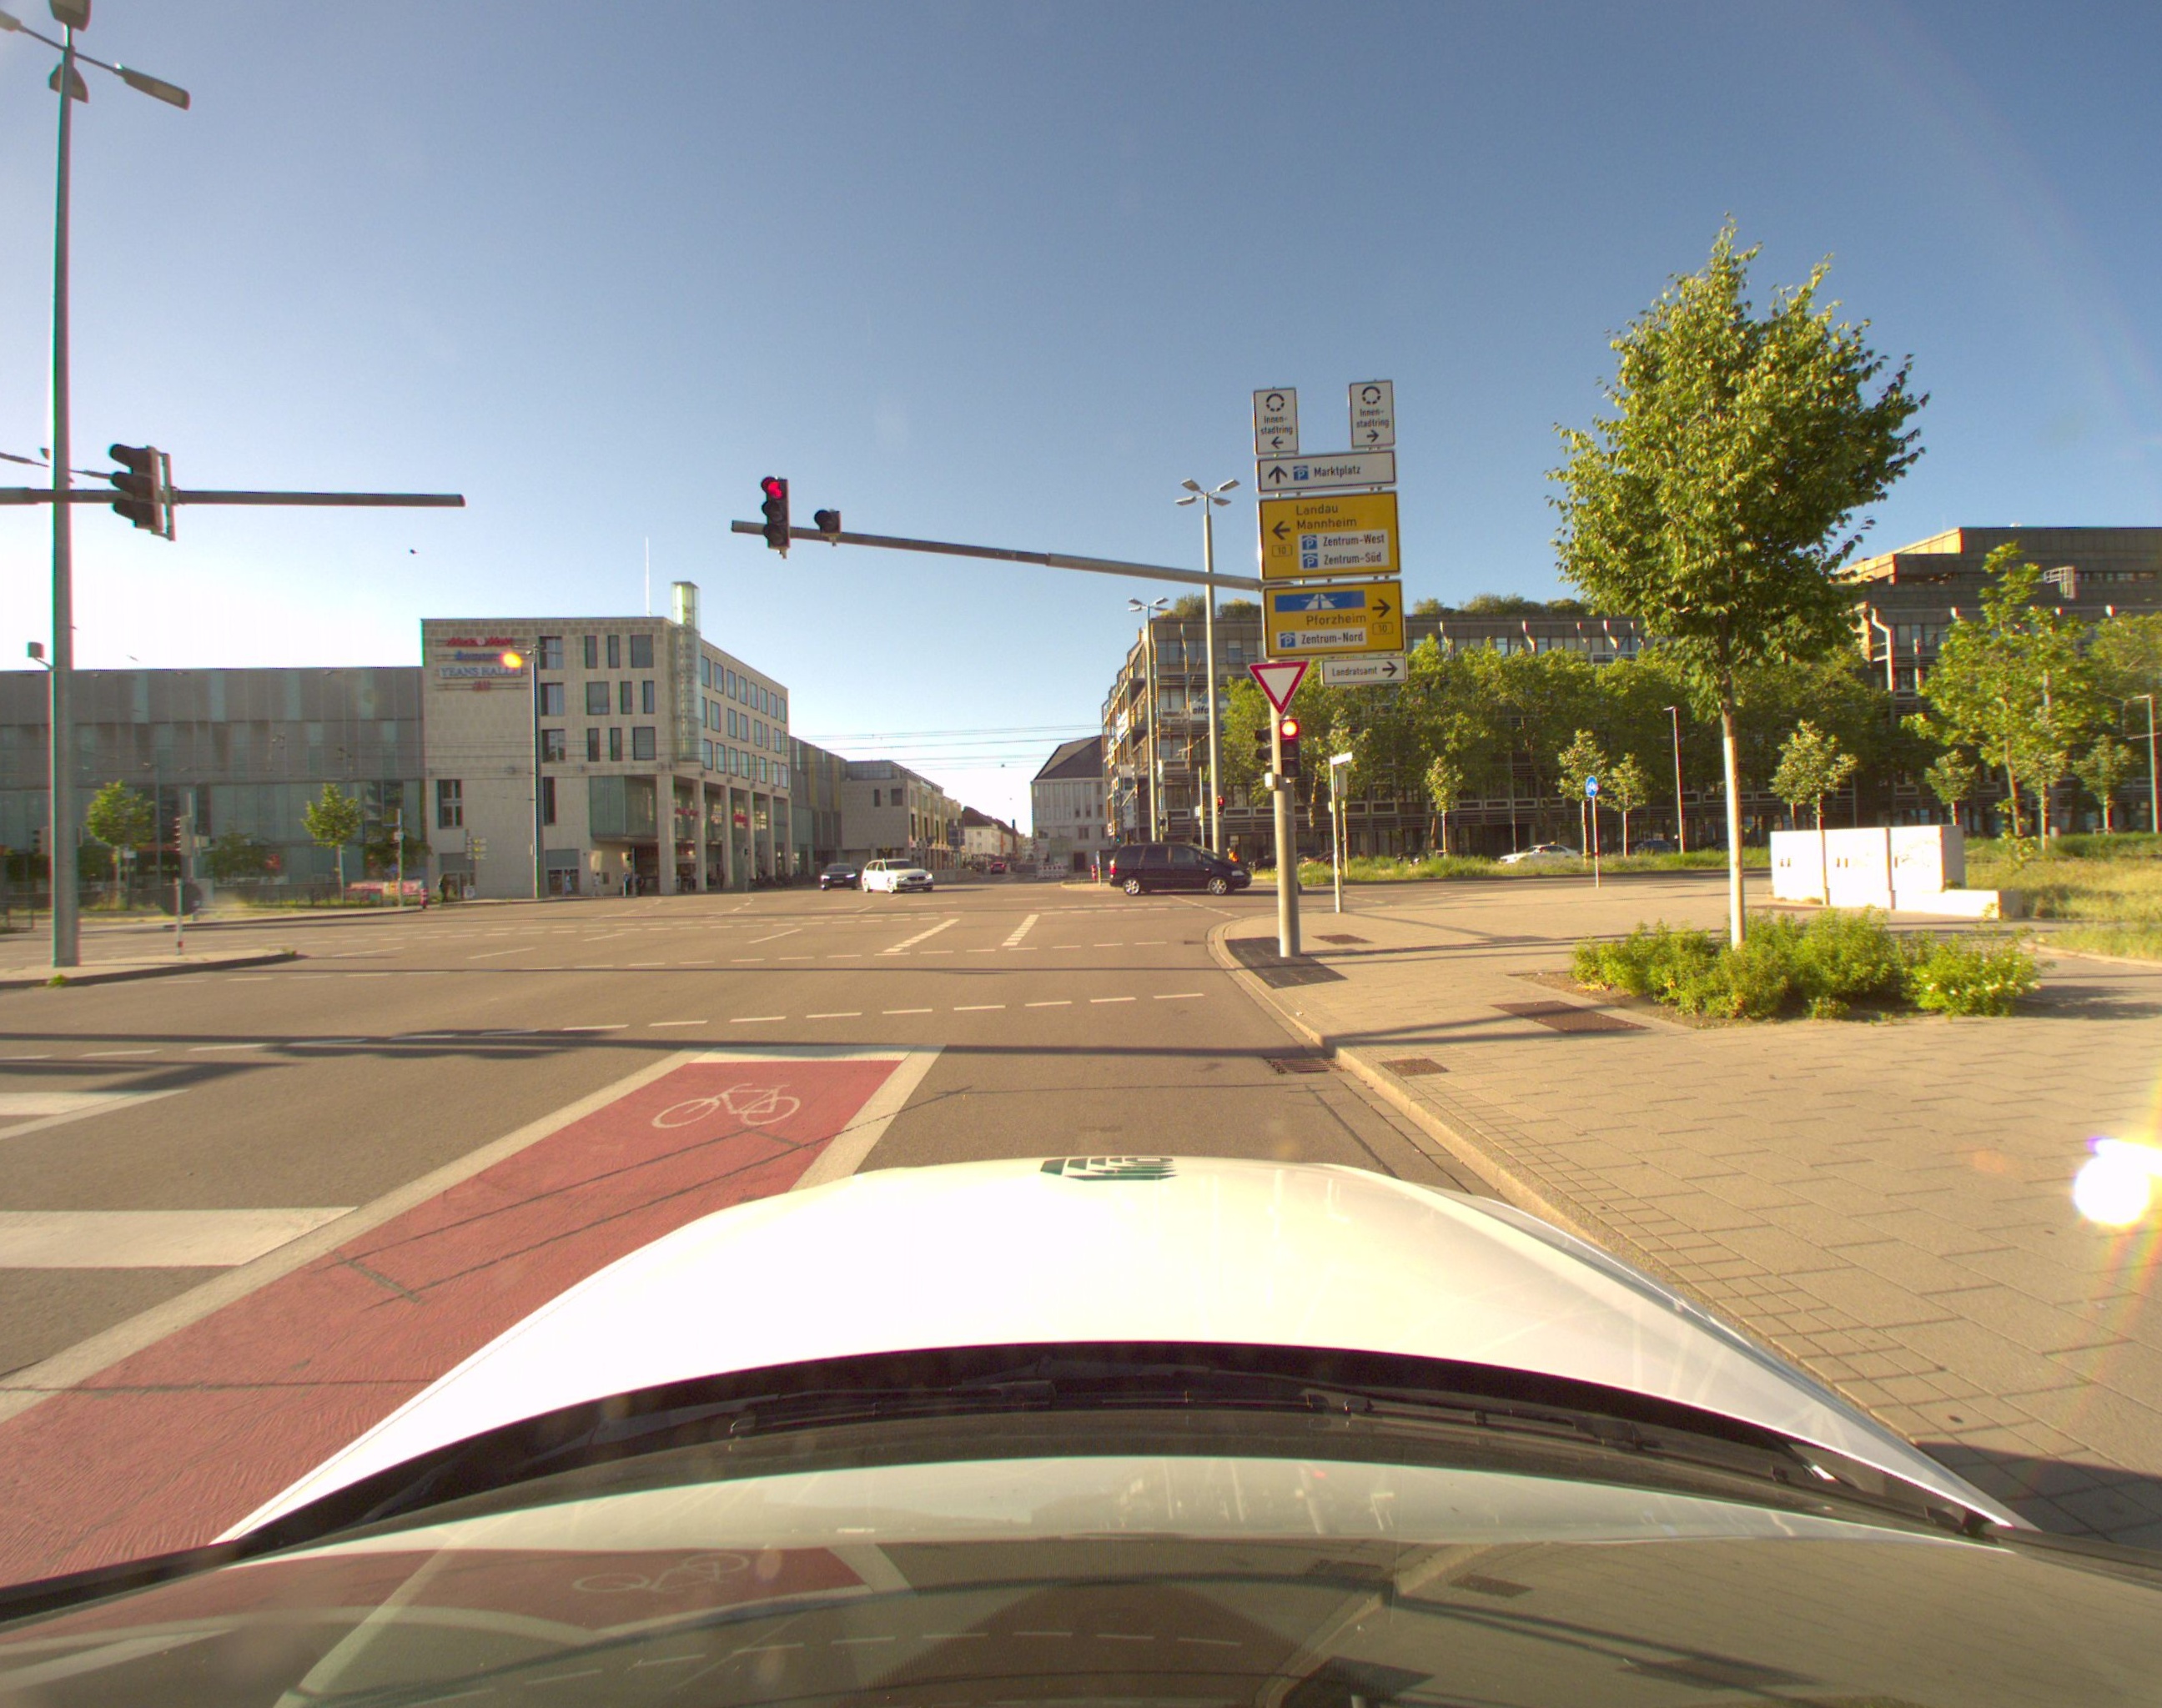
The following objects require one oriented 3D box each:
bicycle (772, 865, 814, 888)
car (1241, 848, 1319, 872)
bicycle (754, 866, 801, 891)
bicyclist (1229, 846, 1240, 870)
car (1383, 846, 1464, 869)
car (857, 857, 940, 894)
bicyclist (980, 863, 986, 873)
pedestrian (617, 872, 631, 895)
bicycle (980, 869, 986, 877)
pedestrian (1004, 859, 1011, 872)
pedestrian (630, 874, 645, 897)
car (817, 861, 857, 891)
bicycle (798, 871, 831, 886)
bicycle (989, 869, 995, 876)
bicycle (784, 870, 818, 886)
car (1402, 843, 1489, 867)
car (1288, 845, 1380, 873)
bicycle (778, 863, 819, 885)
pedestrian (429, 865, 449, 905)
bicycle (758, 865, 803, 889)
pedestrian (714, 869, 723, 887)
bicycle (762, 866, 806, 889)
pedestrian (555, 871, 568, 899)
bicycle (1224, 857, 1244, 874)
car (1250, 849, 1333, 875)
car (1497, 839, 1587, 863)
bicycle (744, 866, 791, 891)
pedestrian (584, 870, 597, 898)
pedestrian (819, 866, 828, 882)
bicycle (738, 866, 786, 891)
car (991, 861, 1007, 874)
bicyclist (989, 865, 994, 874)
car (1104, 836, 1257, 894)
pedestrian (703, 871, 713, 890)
[{"bbox_3d":[-27.688,2.138,78.404,3.613,2.013,0.901,-2,0,-4],"label":"bicycle"},{"bbox_3d":[13.076,0.367,53.790,4.620,1.356,1.998,-2,1,-3],"label":"car"},{"bbox_3d":[-26.891,2.157,72.216,3.613,2.013,1.085,-2,0,-4],"label":"bicycle"},{"bbox_3d":[8.896,0.231,47.149,0.506,1.338,0.453,-2,0,3],"label":"bicyclist"},{"bbox_3d":[23.088,0.195,55.004,4.620,1.356,1.998,-2,1,-3],"label":"car"},{"bbox_3d":[-7.902,0.855,34.910,2.007,1.356,4.599,-3,2,-32],"label":"car"},{"bbox_3d":[-14.932,2.164,123.996,0.744,1.461,0.766,-2,0,-2],"label":"bicyclist"},{"bbox_3d":[-32.985,2.125,58.785,0.621,1.608,0.653,-2,0,0],"label":"pedestrian"},{"bbox_3d":[-14.933,2.862,123.999,0.739,1.046,2.429,-2,0,-2],"label":"bicycle"},{"bbox_3d":[-9.786,1.557,108.913,0.711,1.668,0.988,-2,0,1],"label":"pedestrian"},{"bbox_3d":[-31.972,2.236,58.734,0.621,1.608,0.653,-2,0,0],"label":"pedestrian"},{"bbox_3d":[-13.859,1.219,46.152,1.999,1.530,4.011,-2,0,-18],"label":"car"},{"bbox_3d":[-27.999,2.565,85.648,3.044,1.400,0.901,-2,0,-4],"label":"bicycle"},{"bbox_3d":[-13.628,2.800,124.744,0.739,1.046,2.429,-2,0,-2],"label":"bicycle"},{"bbox_3d":[-27.929,2.379,81.224,3.044,1.400,0.901,-2,0,-4],"label":"bicycle"},{"bbox_3d":[22.957,0.036,51.408,4.620,1.356,1.998,-2,1,-3],"label":"car"},{"bbox_3d":[14.285,0.257,46.142,4.620,1.356,1.998,-2,1,-3],"label":"car"},{"bbox_3d":[-27.805,1.971,80.248,3.613,2.013,0.901,-2,0,-4],"label":"bicycle"},{"bbox_3d":[-32.579,1.572,41.309,0.515,2.013,0.622,-2,0,-12],"label":"pedestrian"},{"bbox_3d":[-27.718,2.148,75.166,3.613,2.013,1.085,-2,0,-4],"label":"bicycle"},{"bbox_3d":[-31.910,2.094,71.672,0.627,1.608,0.646,-2,0,-35],"label":"pedestrian"},{"bbox_3d":[-27.823,2.167,76.314,3.613,2.013,1.085,-2,0,-4],"label":"bicycle"},{"bbox_3d":[-37.870,2.251,59.356,0.622,2.013,0.515,-2,0,-8],"label":"pedestrian"},{"bbox_3d":[8.858,0.669,47.144,1.072,0.971,0.458,-2,0,2],"label":"bicycle"},{"bbox_3d":[13.091,0.481,50.877,4.620,1.356,1.998,-2,1,-3],"label":"car"},{"bbox_3d":[29.182,-0.188,51.616,4.620,1.356,1.998,-2,1,-3],"label":"car"},{"bbox_3d":[-27.204,2.118,70.757,3.613,2.013,1.085,-2,0,-4],"label":"bicycle"},{"bbox_3d":[-36.169,2.180,60.013,0.622,2.013,0.515,-2,0,-8],"label":"pedestrian"},{"bbox_3d":[-25.587,2.004,81.027,0.746,1.608,0.619,-2,0,-27],"label":"pedestrian"},{"bbox_3d":[-27.181,2.082,69.419,3.617,2.013,1.084,-2,0,-7],"label":"bicycle"},{"bbox_3d":[-10.917,1.781,108.710,1.990,1.552,3.994,-2,0,-4],"label":"car"},{"bbox_3d":[-13.650,2.361,124.452,0.744,1.461,0.766,-2,0,-2],"label":"bicyclist"},{"bbox_3d":[3.275,0.369,26.800,4.591,1.742,2.011,-1,1,21],"label":"car"},{"bbox_3d":[-32.461,2.275,70.920,0.627,1.608,0.646,-2,0,-35],"label":"pedestrian"}]
